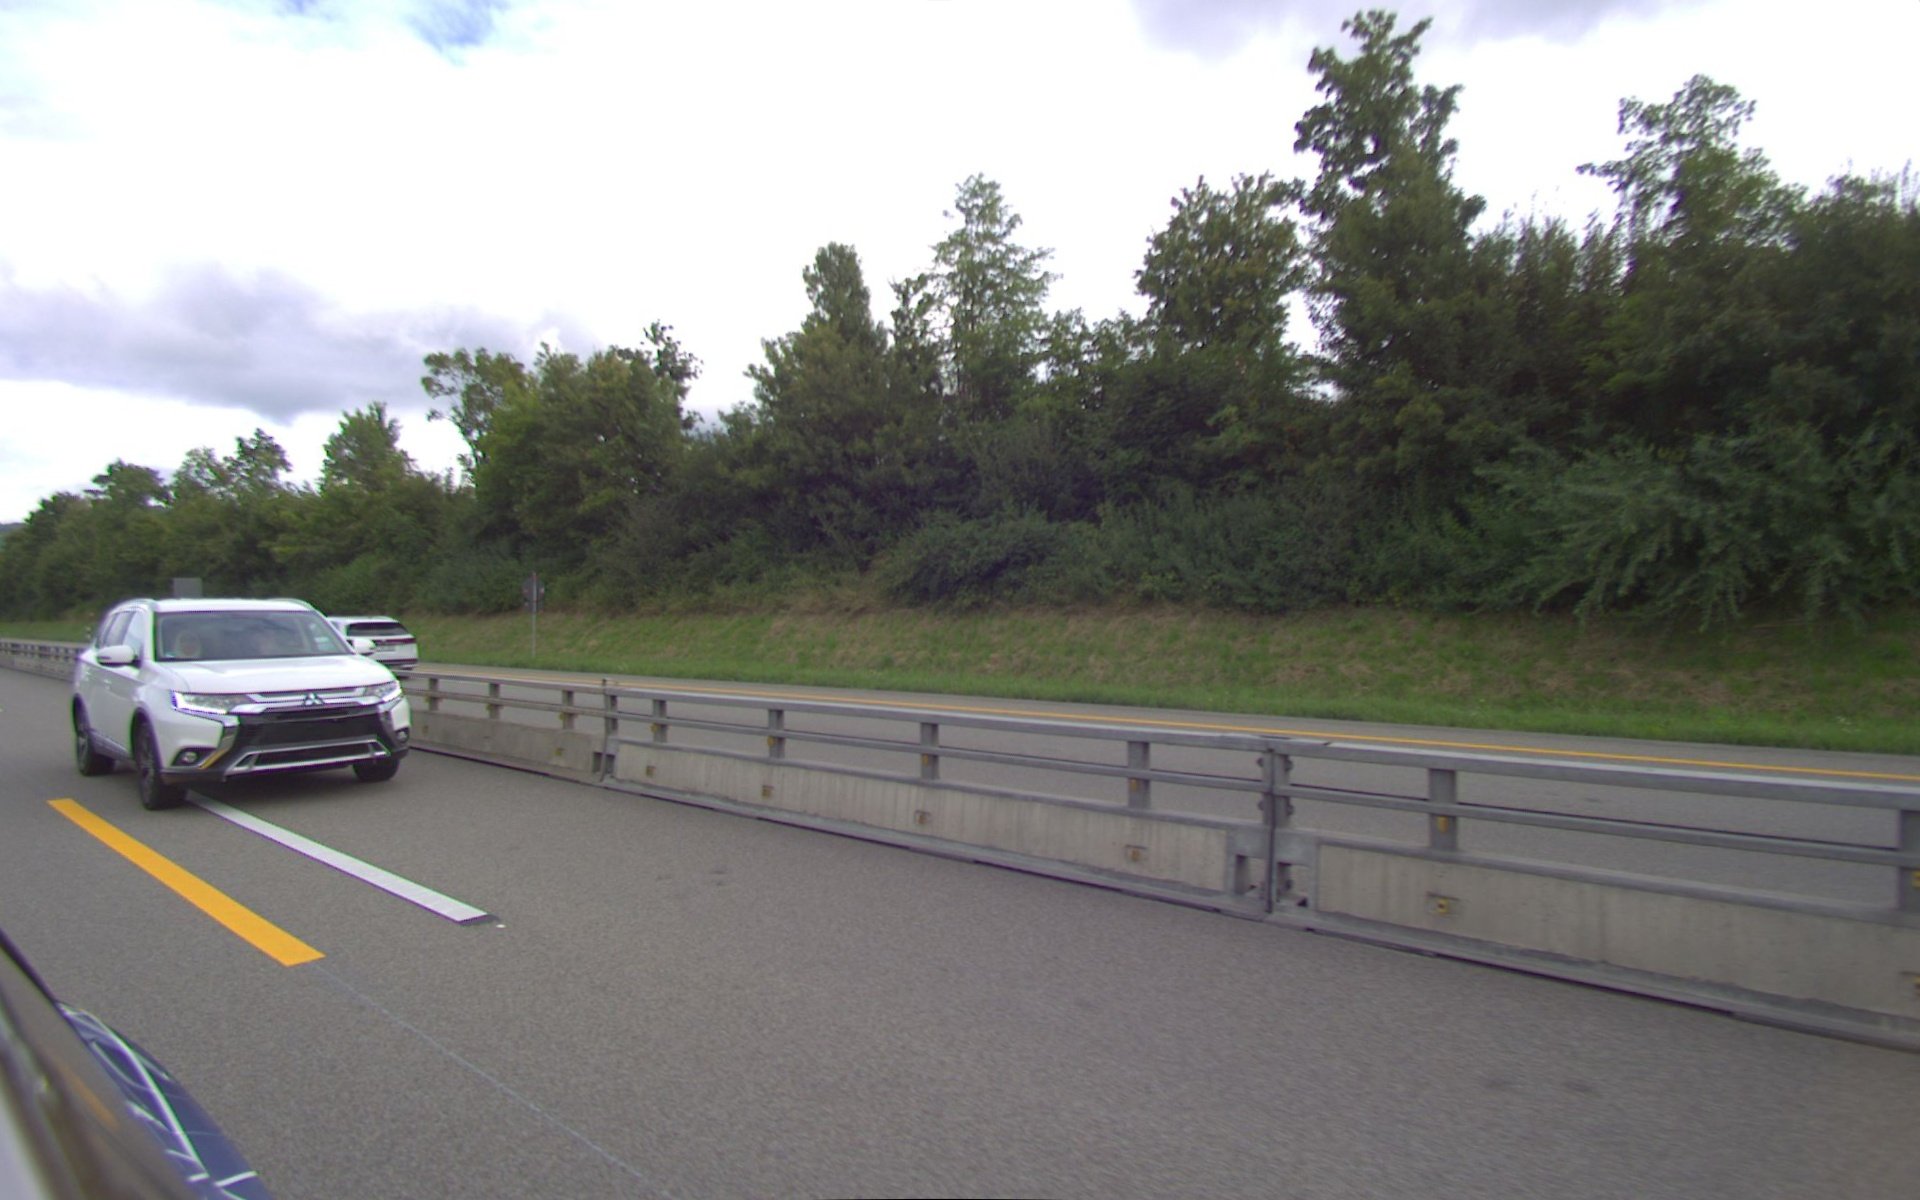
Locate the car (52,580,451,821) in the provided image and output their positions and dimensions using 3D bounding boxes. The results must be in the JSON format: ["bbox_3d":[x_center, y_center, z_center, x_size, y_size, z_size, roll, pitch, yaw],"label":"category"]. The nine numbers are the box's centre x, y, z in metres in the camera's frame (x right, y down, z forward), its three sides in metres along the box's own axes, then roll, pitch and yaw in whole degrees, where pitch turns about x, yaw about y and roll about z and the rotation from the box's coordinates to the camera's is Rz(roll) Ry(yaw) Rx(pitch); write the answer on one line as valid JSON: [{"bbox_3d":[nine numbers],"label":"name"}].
[{"bbox_3d":[-6.599,0.730,9.200,4.605,1.640,1.972,-1,-1,42],"label":"car"}]

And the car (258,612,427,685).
[{"bbox_3d":[-14.554,1.096,23.734,4.898,1.480,1.987,-2,-1,41],"label":"car"}]
